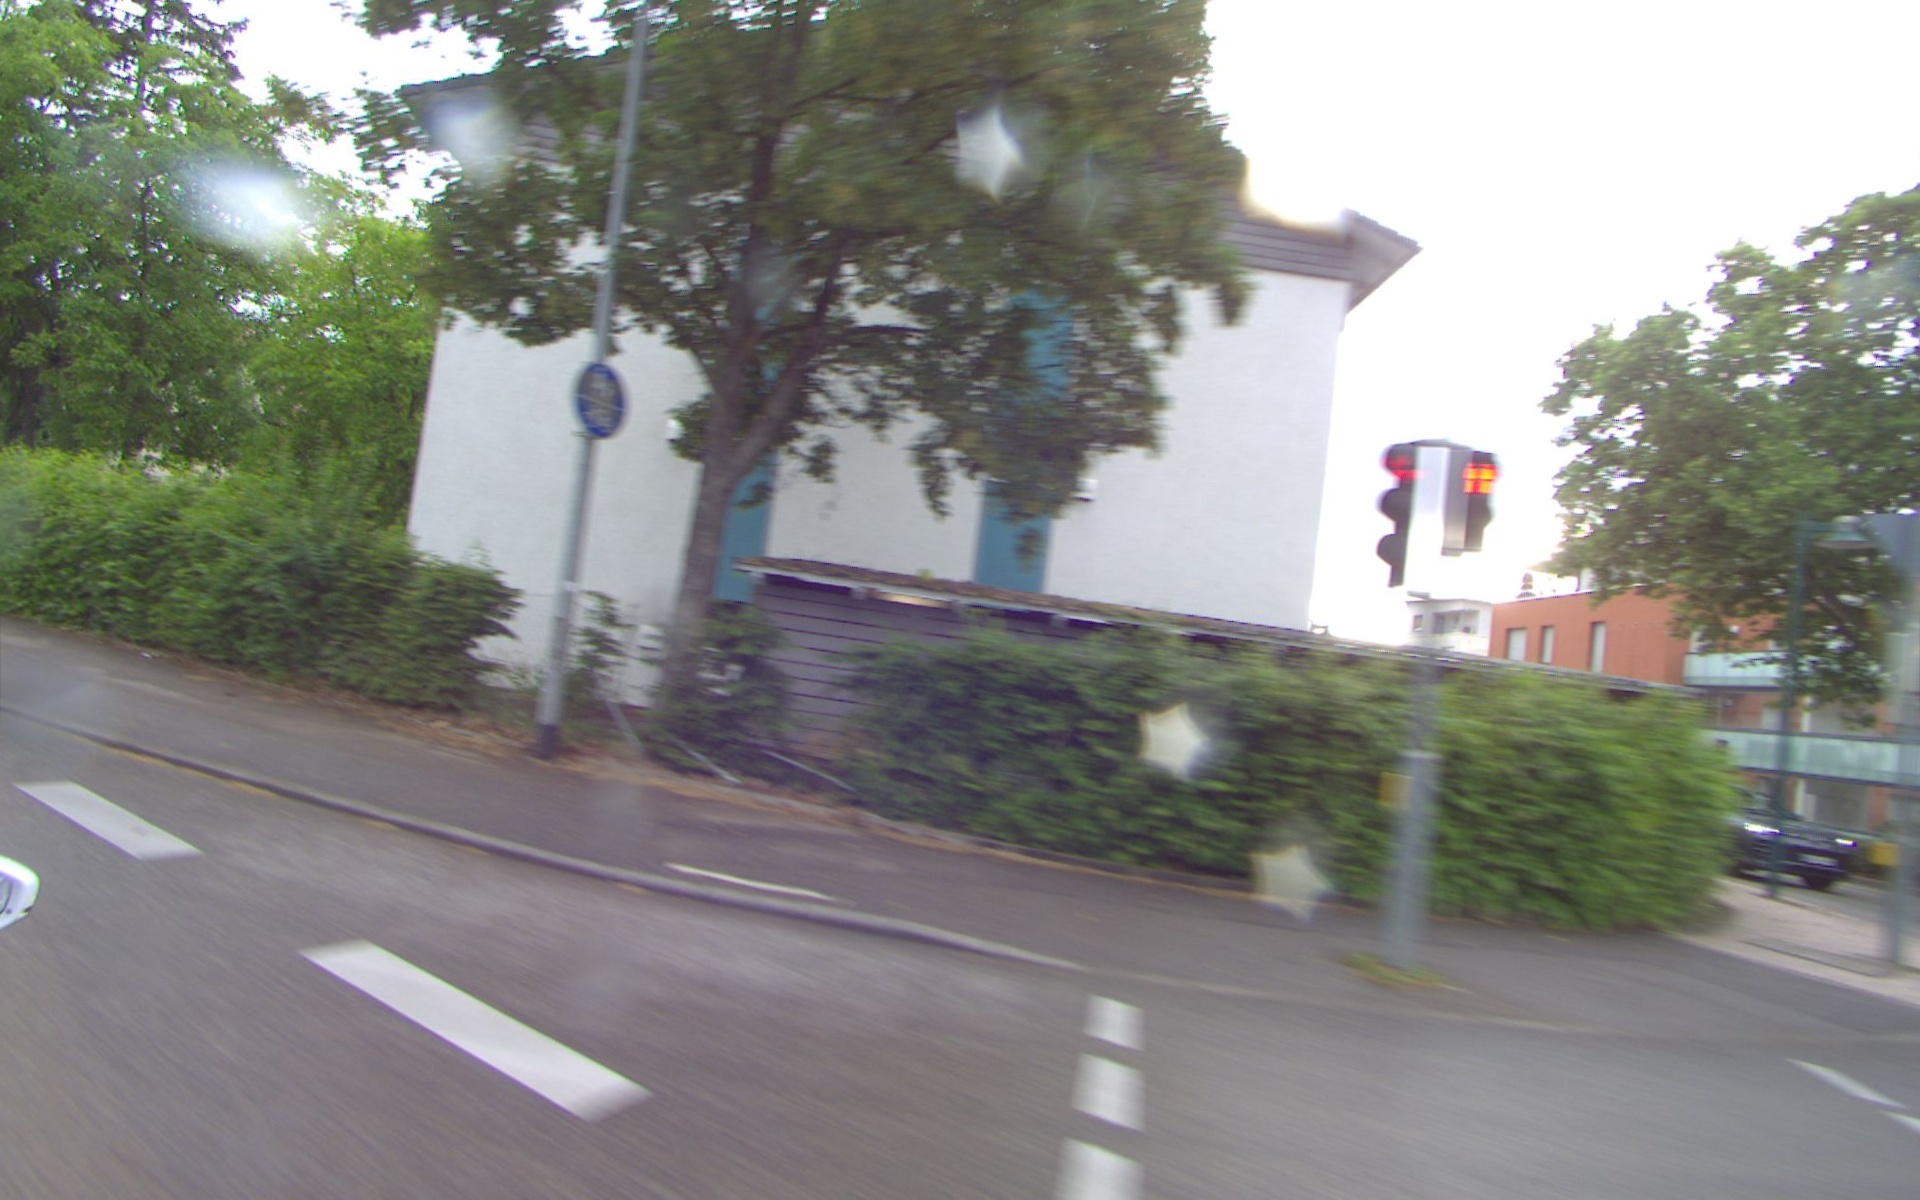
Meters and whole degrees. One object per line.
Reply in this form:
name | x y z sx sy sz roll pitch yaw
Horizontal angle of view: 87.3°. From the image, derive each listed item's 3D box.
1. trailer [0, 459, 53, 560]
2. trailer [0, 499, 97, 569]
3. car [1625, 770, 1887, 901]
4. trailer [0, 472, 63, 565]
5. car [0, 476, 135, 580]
trailer | -25.976 -2.683 24.928 1.915 2.425 4.554 8 -4 26
trailer | -22.742 -1.780 22.849 1.546 1.302 4.408 9 -3 33
car | 14.455 4.223 18.597 1.774 1.571 3.944 8 -4 5
trailer | -24.316 -2.284 23.910 1.659 2.042 3.965 8 -4 33
car | -20.305 -1.730 21.002 1.952 1.768 4.222 9 -3 35
